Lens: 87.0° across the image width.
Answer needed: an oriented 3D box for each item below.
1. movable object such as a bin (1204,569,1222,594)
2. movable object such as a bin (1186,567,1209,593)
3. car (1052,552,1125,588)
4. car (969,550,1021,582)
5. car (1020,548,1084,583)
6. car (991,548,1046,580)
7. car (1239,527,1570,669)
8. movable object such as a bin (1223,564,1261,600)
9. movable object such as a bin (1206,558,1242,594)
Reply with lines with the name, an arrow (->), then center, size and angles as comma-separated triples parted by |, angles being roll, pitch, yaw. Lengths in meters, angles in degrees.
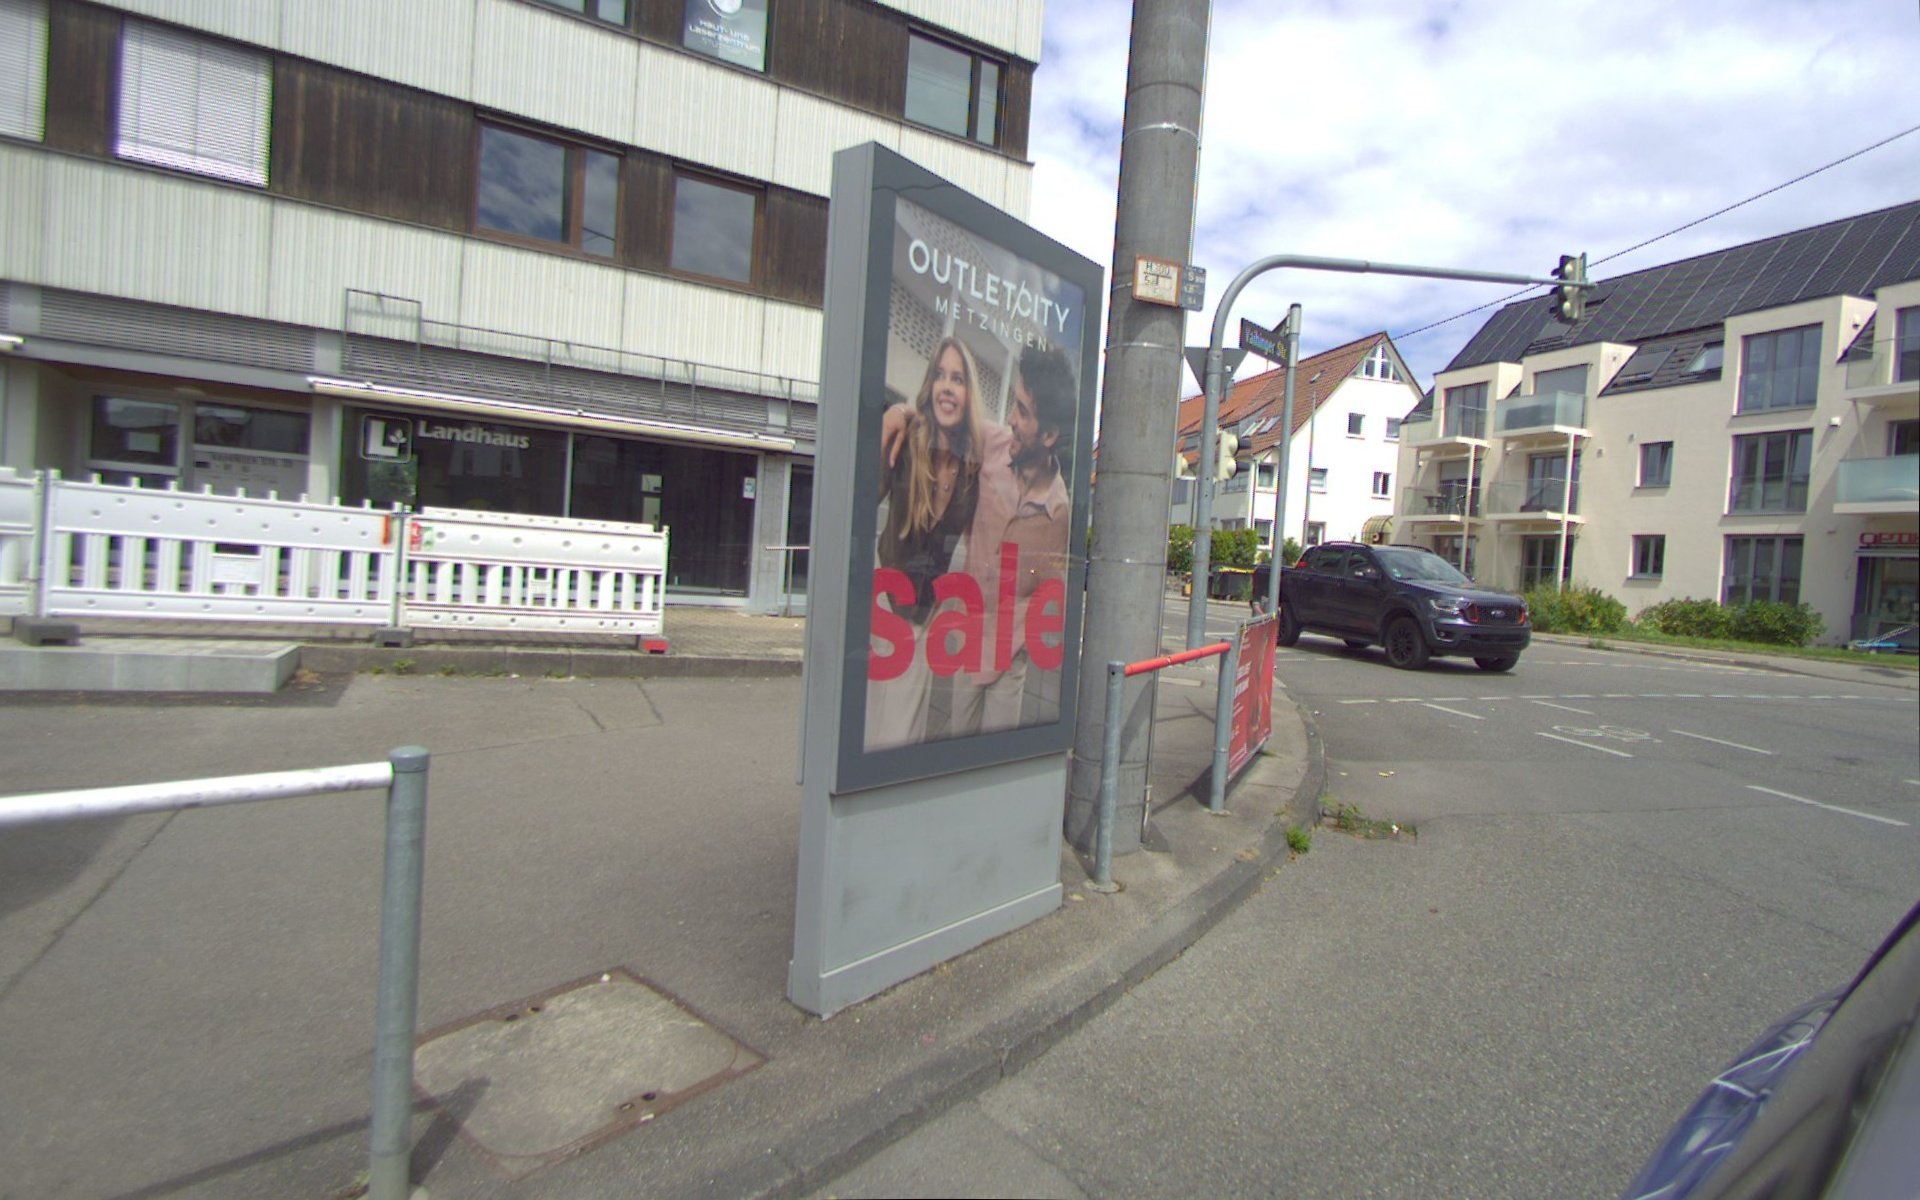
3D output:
movable object such as a bin -> 11.093, -0.814, 44.361 | 0.520, 1.078, 0.648 | 4, 3, 36
movable object such as a bin -> 10.411, -0.878, 44.397 | 0.748, 1.078, 0.694 | 3, 2, -8
car -> 6.286, -1.523, 49.881 | 1.781, 1.519, 4.465 | 2, 3, -18
car -> 2.202, -2.226, 65.341 | 1.959, 1.651, 4.248 | 10, 1, -15
car -> 4.917, -1.886, 54.656 | 1.958, 1.652, 4.465 | 2, 3, -15
car -> 3.414, -2.169, 59.990 | 1.958, 1.652, 4.248 | 2, 3, -15
car -> 6.817, -0.168, 16.361 | 1.848, 1.871, 5.235 | 2, 3, -17
movable object such as a bin -> 11.661, -0.745, 41.855 | 1.070, 1.379, 0.983 | 2, 2, -15
movable object such as a bin -> 11.316, -1.021, 43.469 | 1.070, 1.464, 0.983 | 2, 2, -15
